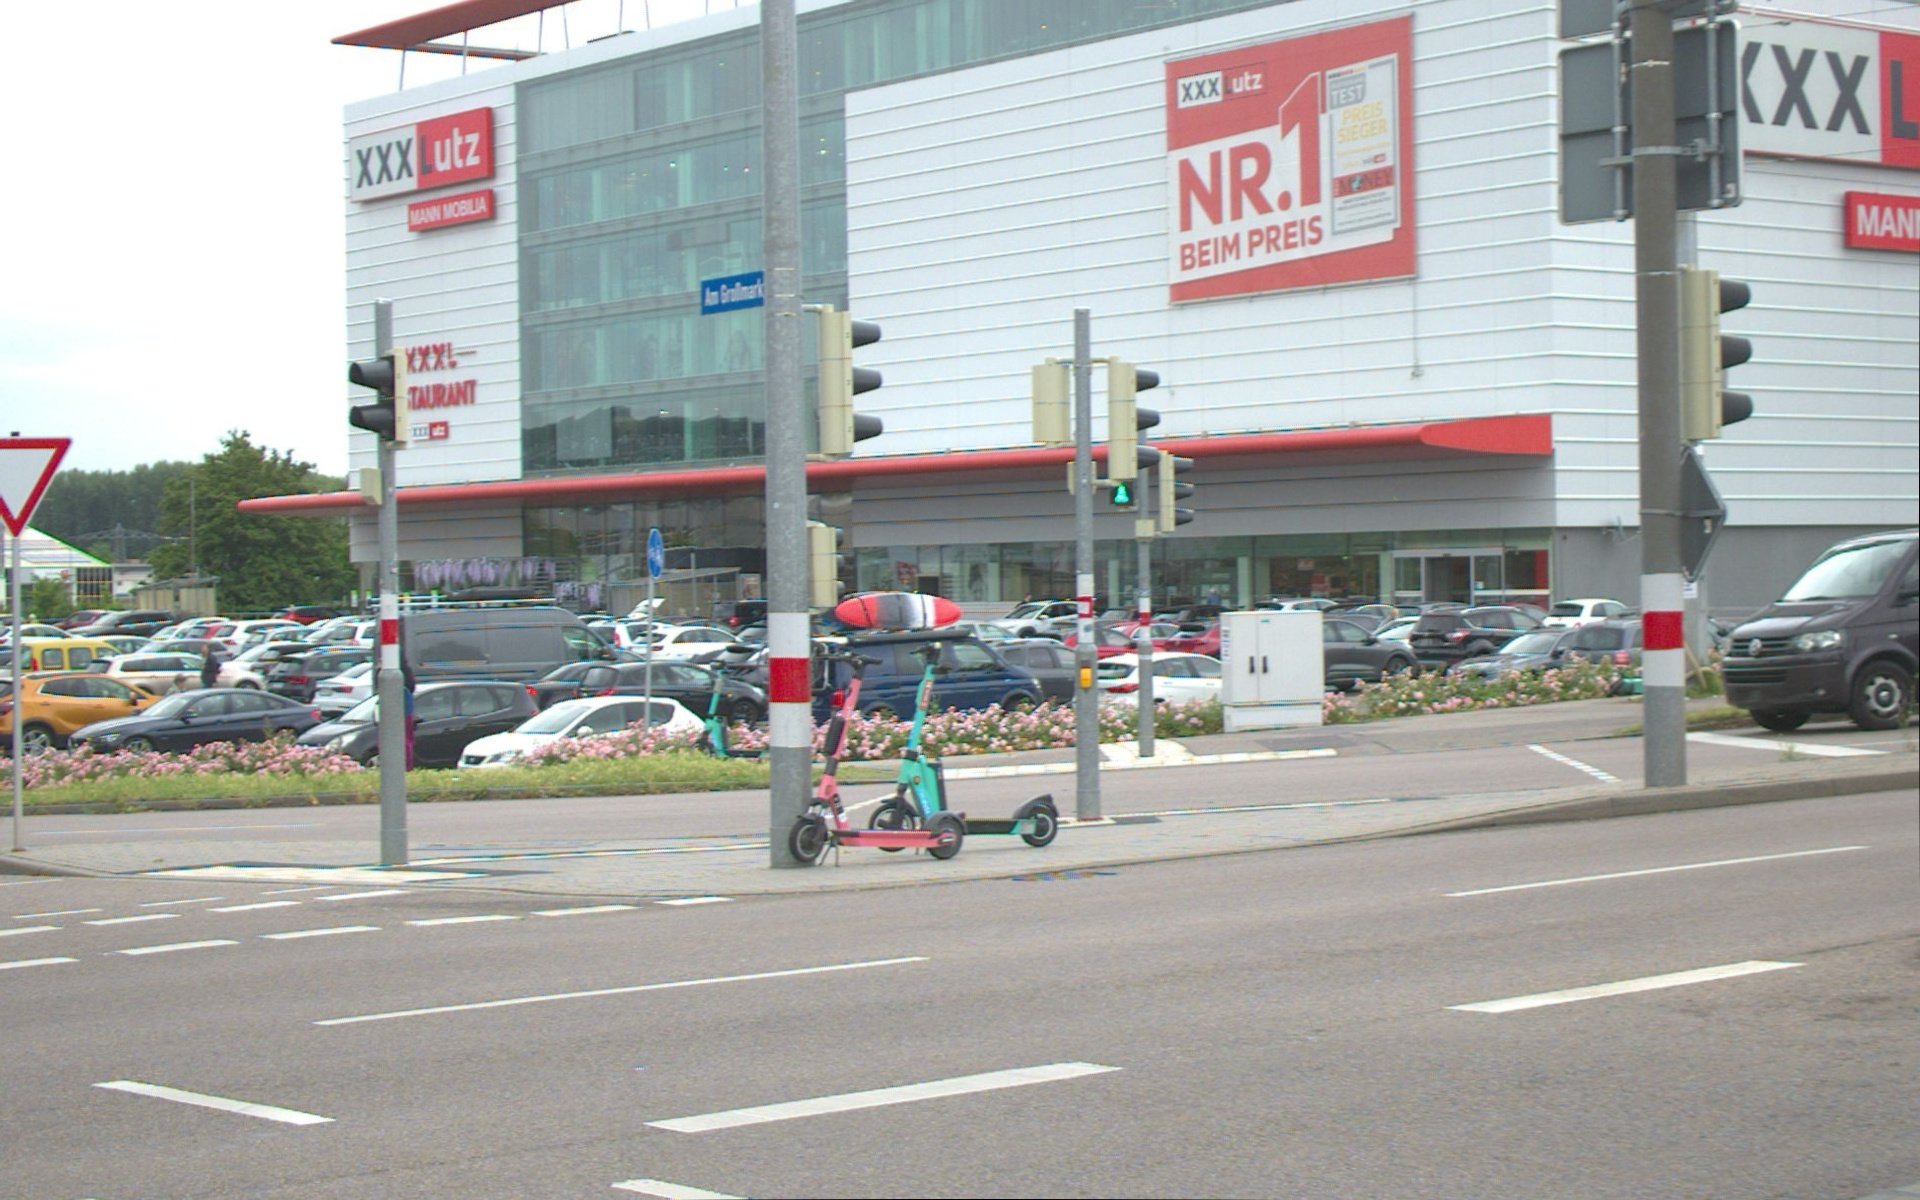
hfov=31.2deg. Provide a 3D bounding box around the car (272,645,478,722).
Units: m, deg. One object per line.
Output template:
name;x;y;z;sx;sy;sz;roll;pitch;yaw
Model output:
car;-12.715;1.800;74.792;3.988;1.547;1.863;-1;-1;-36

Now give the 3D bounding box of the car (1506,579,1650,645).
car;16.126;0.305;89.678;3.605;1.554;1.650;-3;2;-36

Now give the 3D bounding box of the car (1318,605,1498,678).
car;10.481;0.963;80.347;3.988;1.526;1.778;-2;1;-36

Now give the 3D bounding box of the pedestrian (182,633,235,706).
pedestrian;-18.126;1.673;82.885;0.939;1.713;0.885;-1;2;-39

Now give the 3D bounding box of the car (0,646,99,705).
car;-25.513;2.033;92.721;3.988;1.529;1.888;0;-1;-38

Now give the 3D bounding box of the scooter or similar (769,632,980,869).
scooter or similar;-0.480;0.839;19.262;1.015;1.251;0.464;-3;-2;-24

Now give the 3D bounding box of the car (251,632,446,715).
car;-13.746;1.633;77.382;3.893;1.648;1.831;-3;2;-39

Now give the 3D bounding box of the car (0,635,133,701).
car;-24.094;1.771;90.771;3.988;1.590;1.879;-1;2;-36

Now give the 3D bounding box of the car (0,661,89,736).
car;-19.791;2.007;69.122;3.988;1.450;1.814;-1;-1;-37

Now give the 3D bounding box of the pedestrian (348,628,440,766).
pedestrian;-6.715;1.147;40.796;0.715;1.592;0.783;-4;-2;19

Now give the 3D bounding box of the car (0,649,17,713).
car;-28.908;2.301;96.491;4.313;1.738;1.888;-1;1;-35

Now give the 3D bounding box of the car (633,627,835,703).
car;-4.903;1.401;74.696;3.988;1.550;1.854;-1;-1;-37

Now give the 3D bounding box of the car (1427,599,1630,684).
car;11.368;0.821;68.682;3.989;1.511;1.832;-3;1;-41

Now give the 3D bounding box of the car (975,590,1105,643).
car;2.516;0.507;107.632;3.794;1.549;1.830;-1;2;-38

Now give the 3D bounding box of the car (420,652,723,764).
car;-5.751;1.576;51.114;4.108;1.441;1.875;-1;2;-39

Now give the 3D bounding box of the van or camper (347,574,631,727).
van or camper;-9.678;1.014;70.786;5.380;2.974;1.991;-1;-1;-29

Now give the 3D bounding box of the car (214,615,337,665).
car;-22.645;1.327;113.780;3.569;1.582;1.739;-1;-1;-33

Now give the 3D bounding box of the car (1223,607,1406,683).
car;8.461;1.061;81.936;3.988;1.648;1.950;-2;0;-35

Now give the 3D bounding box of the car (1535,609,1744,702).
car;13.195;1.057;66.688;3.989;1.660;1.885;-1;0;-41

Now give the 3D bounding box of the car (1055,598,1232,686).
car;4.575;1.041;85.598;3.988;2.007;1.999;-2;1;-36

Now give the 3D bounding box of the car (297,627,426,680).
car;-18.737;1.666;107.594;3.569;1.582;1.739;-1;-1;-33

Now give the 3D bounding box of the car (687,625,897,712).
car;-3.523;1.437;72.393;3.988;1.664;1.885;-2;0;-36

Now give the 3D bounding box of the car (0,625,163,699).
car;-22.720;1.575;88.855;3.737;1.762;1.733;-1;2;-36

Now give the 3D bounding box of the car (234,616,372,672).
car;-21.362;1.428;111.828;3.987;1.744;1.895;-1;-1;-33

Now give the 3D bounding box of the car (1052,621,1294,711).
car;3.892;1.186;62.435;4.198;1.471;1.745;-2;0;-36

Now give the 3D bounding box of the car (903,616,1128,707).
car;1.102;1.196;67.176;3.988;1.669;1.999;-1;-1;-39

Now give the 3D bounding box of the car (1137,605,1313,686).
car;6.476;1.110;83.987;3.988;1.812;1.820;-2;0;-35

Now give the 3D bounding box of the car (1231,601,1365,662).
car;9.651;0.889;98.048;3.605;1.554;1.650;-3;2;-36

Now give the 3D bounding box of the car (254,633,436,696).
car;-15.691;1.626;87.837;4.240;1.464;1.739;-1;1;-36

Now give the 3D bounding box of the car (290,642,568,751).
car;-8.570;1.533;55.654;4.093;1.578;1.769;-1;1;-37

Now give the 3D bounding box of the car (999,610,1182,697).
car;3.077;1.249;80.745;3.988;1.855;1.832;-2;1;-37

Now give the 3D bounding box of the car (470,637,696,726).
car;-7.548;1.615;68.965;3.988;1.563;1.999;-3;1;-37

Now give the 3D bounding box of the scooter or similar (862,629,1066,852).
scooter or similar;0.026;0.827;20.448;1.112;1.251;0.321;-3;-1;-24

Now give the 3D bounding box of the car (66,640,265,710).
car;-19.493;1.822;84.425;4.412;1.578;1.834;-1;1;-36

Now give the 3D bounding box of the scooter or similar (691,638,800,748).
scooter or similar;-2.445;1.062;39.225;1.162;1.229;0.346;-2;-2;14

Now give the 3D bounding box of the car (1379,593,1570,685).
car;11.686;0.882;78.051;3.988;1.922;1.950;-2;0;-35

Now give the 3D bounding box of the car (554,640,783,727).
car;-5.692;1.624;67.174;3.987;1.550;1.947;-1;-1;-32

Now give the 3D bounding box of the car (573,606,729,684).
car;-8.663;1.241;96.576;3.988;2.049;1.913;-1;1;-40

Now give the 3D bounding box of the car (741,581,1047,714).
car;-1.162;0.832;61.540;5.036;2.158;2.122;-2;0;-33

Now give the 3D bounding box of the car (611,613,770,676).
car;-7.378;1.214;94.164;3.988;1.649;1.834;-1;-1;-39

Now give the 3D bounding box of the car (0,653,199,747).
car;-16.718;1.881;65.326;3.987;1.638;1.815;-1;-1;-33

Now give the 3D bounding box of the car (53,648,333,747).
car;-13.617;1.700;61.140;4.527;1.578;1.769;-1;1;-37

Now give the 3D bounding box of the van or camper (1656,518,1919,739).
van or camper;9.605;0.213;34.173;4.737;2.007;2.124;-3;-1;-21

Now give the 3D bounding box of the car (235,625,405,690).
car;-16.778;1.497;90.168;3.988;1.629;1.786;-1;-1;-36
